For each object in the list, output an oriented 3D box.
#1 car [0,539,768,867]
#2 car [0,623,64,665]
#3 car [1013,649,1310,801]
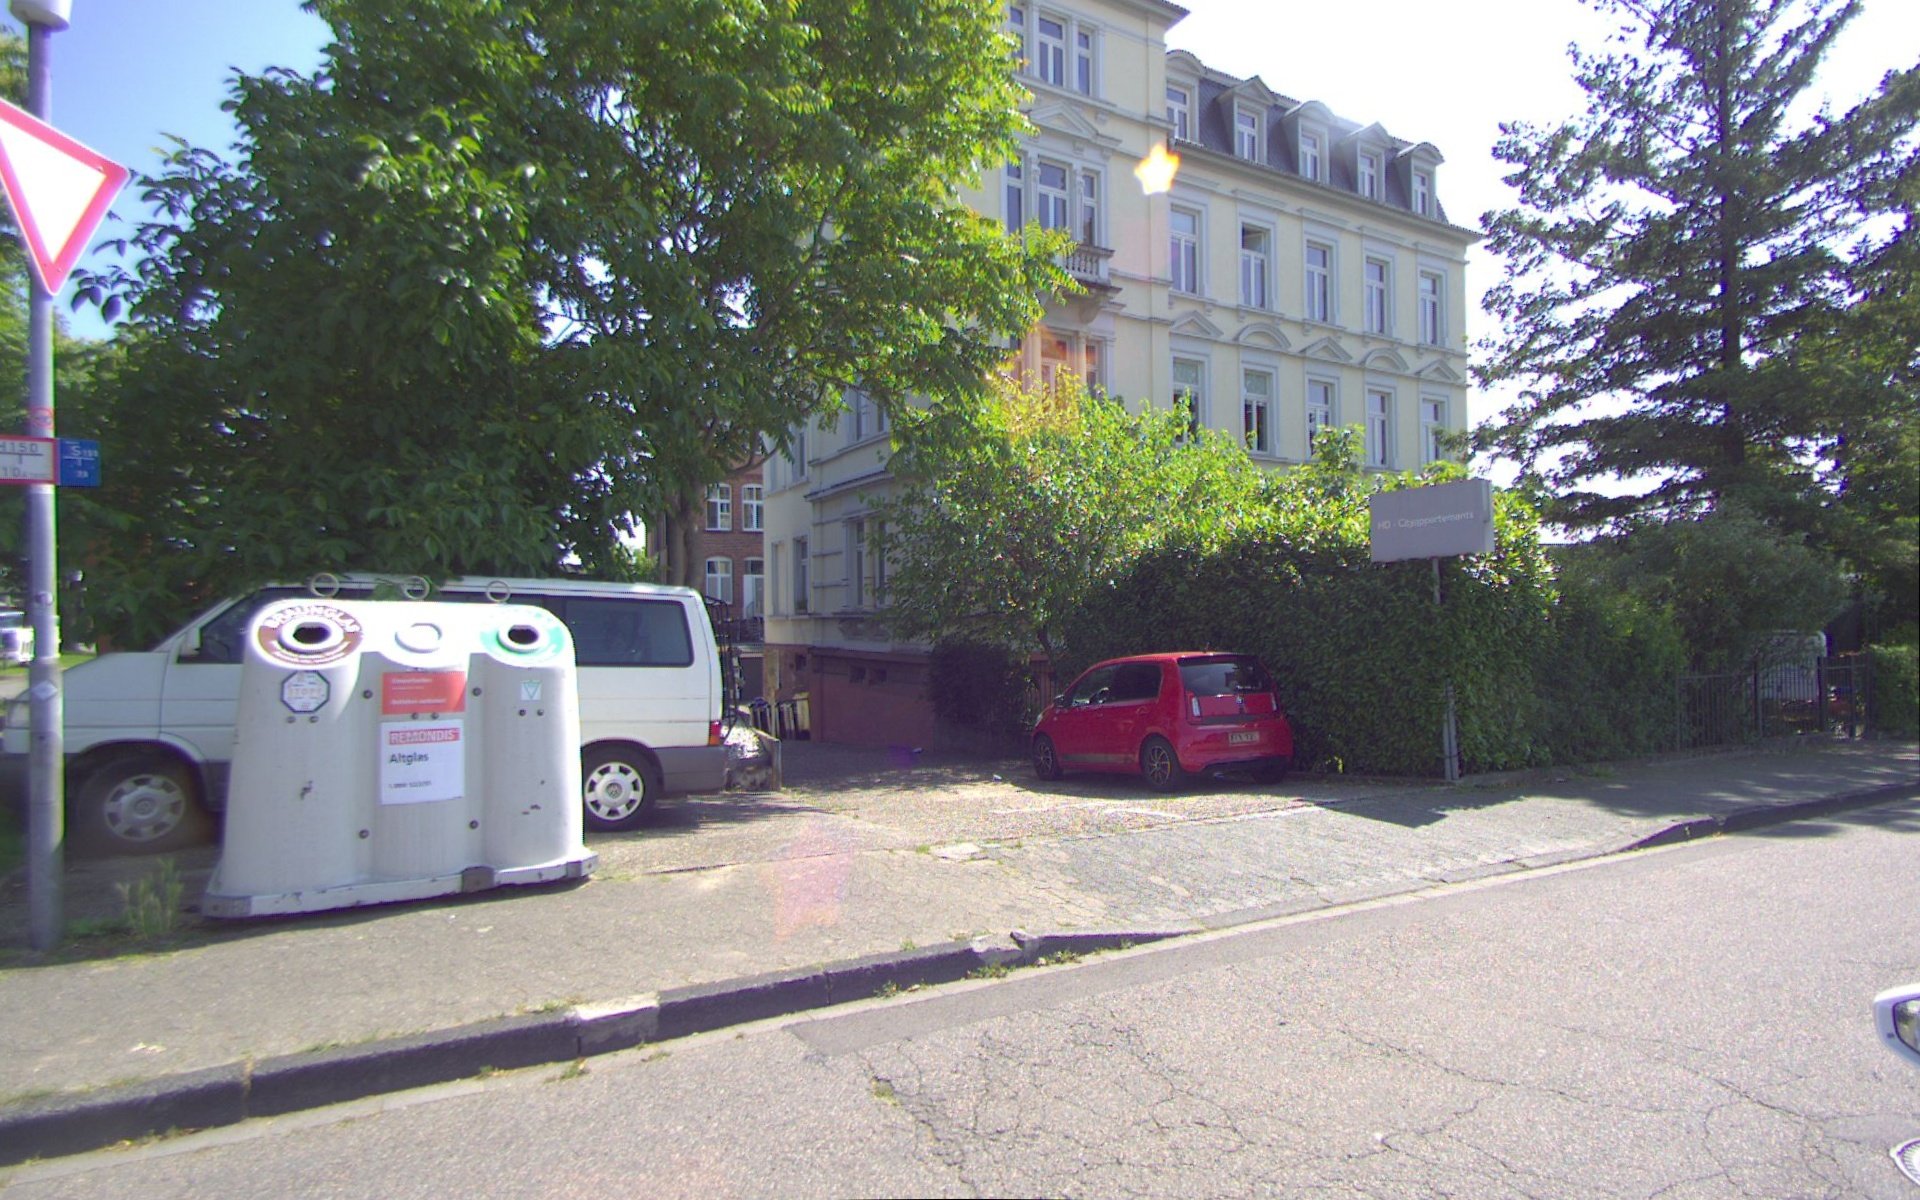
[{"bbox_3d":[-4.200,0.775,7.747,5.027,1.955,1.990,3,-5,-22],"label":"car"},{"bbox_3d":[-36.393,1.660,37.864,1.666,1.577,3.519,0,-2,25],"label":"car"},{"bbox_3d":[2.191,1.424,11.793,1.629,1.484,3.403,1,-6,-27],"label":"car"}]
